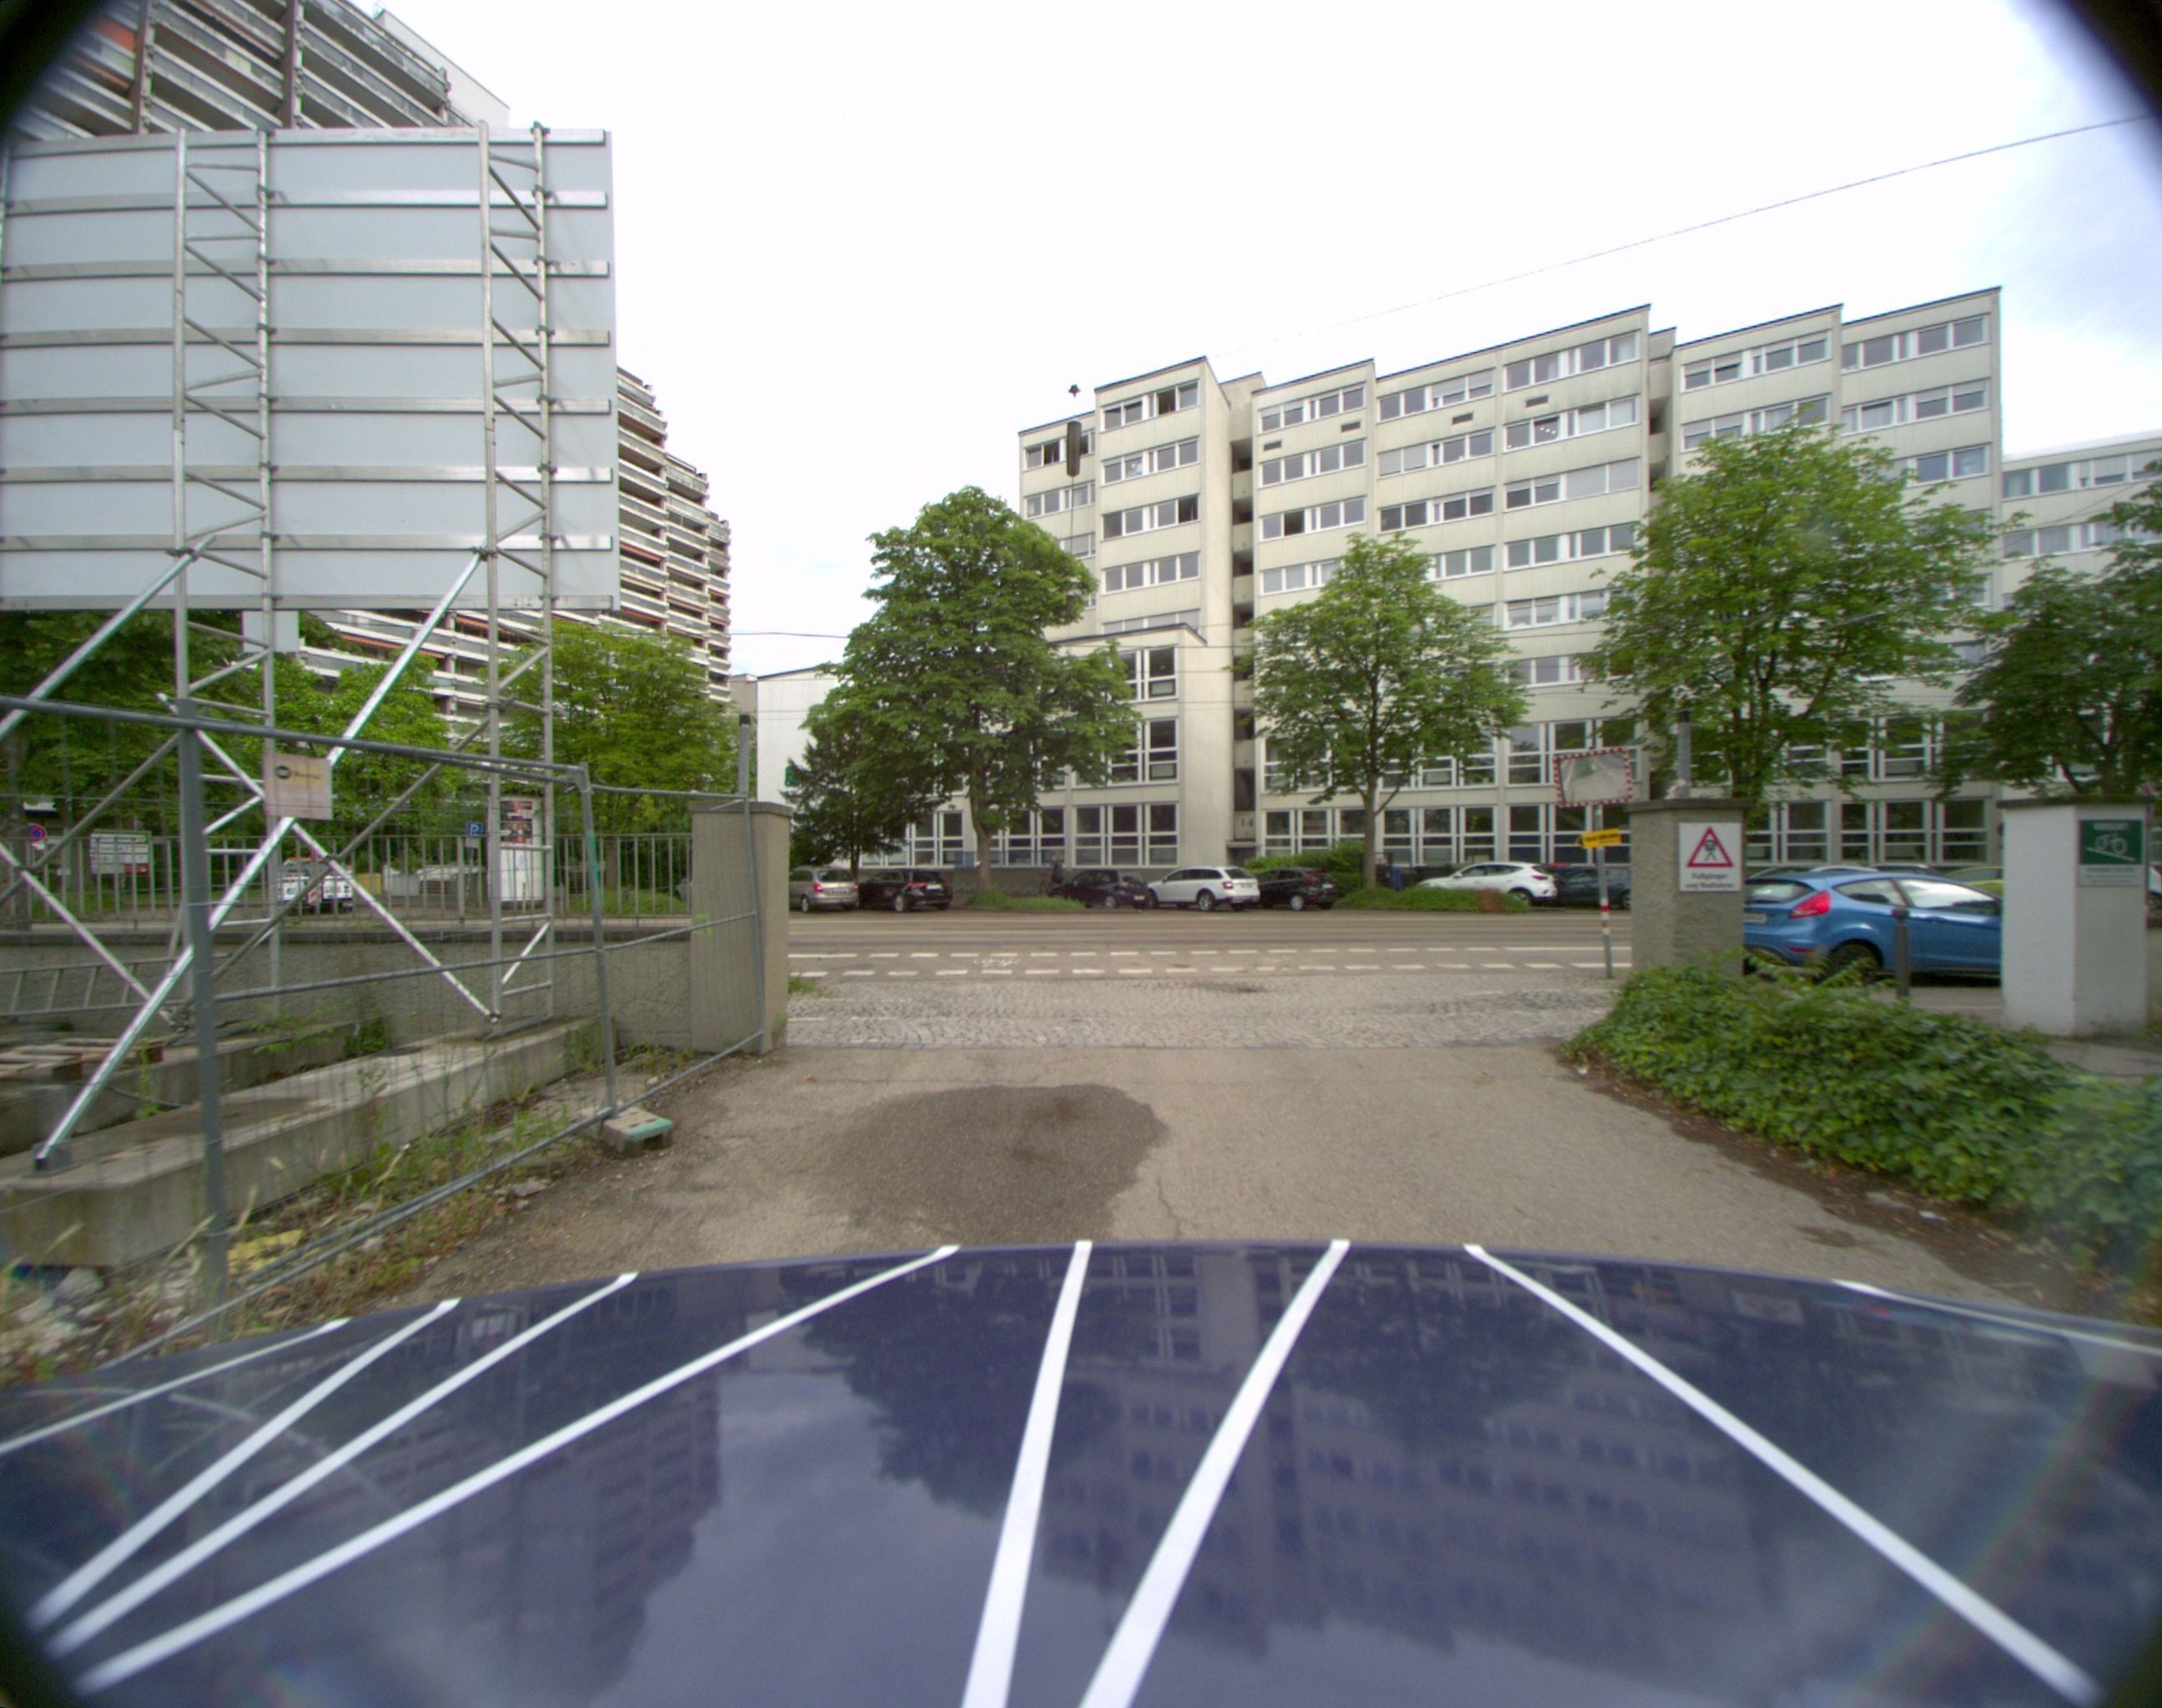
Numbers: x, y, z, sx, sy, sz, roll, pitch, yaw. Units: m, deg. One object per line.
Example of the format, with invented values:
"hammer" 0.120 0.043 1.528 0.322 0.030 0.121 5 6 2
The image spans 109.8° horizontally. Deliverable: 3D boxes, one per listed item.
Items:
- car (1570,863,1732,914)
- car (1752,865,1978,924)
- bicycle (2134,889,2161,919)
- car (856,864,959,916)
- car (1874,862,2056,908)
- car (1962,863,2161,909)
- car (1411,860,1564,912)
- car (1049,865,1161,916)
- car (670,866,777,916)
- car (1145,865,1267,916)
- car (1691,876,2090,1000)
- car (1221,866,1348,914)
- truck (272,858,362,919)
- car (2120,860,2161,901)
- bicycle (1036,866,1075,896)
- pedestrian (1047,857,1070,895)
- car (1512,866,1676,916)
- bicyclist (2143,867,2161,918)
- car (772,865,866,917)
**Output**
"car" 19.849 1.150 26.592 1.703 1.527 4.333 -2 2 -45
"car" 20.298 1.032 19.801 3.996 1.420 1.747 -1 0 2
"bicycle" 31.865 1.439 21.979 2.137 0.863 0.471 0 0 1
"car" -5.878 1.156 25.505 1.703 1.515 3.695 -1 2 -44
"car" 30.164 1.006 26.138 1.703 1.344 3.956 -1 2 -45
"car" 33.201 1.020 25.939 1.703 1.344 3.956 -1 2 -45
"car" 13.861 1.035 26.068 4.333 1.547 1.703 1 1 42
"car" 0.778 1.180 26.095 1.703 1.515 3.695 -1 2 -44
"car" -12.317 1.203 26.035 4.419 1.456 1.807 1 1 43
"car" 4.184 1.175 25.892 1.703 1.476 4.017 -1 1 -37
"car" 10.391 1.033 9.963 3.430 1.451 1.680 0 -1 0
"car" 6.923 1.167 26.208 1.703 1.397 4.017 -1 1 -37
"truck" -26.134 1.087 26.093 2.004 1.838 5.049 -1 1 -44
"car" 38.363 0.929 25.458 1.703 1.344 3.956 -1 2 -45
"bicycle" -1.062 1.149 32.054 1.593 1.260 0.406 0 0 10
"pedestrian" -0.973 0.929 32.613 0.753 1.602 0.735 2 2 21
"car" 17.258 1.184 25.702 1.703 1.445 4.333 -1 2 -45
"bicyclist" 31.858 1.115 22.003 1.026 1.491 0.846 0 0 1
"car" -8.876 1.174 25.587 1.576 1.515 3.640 -1 2 -44
